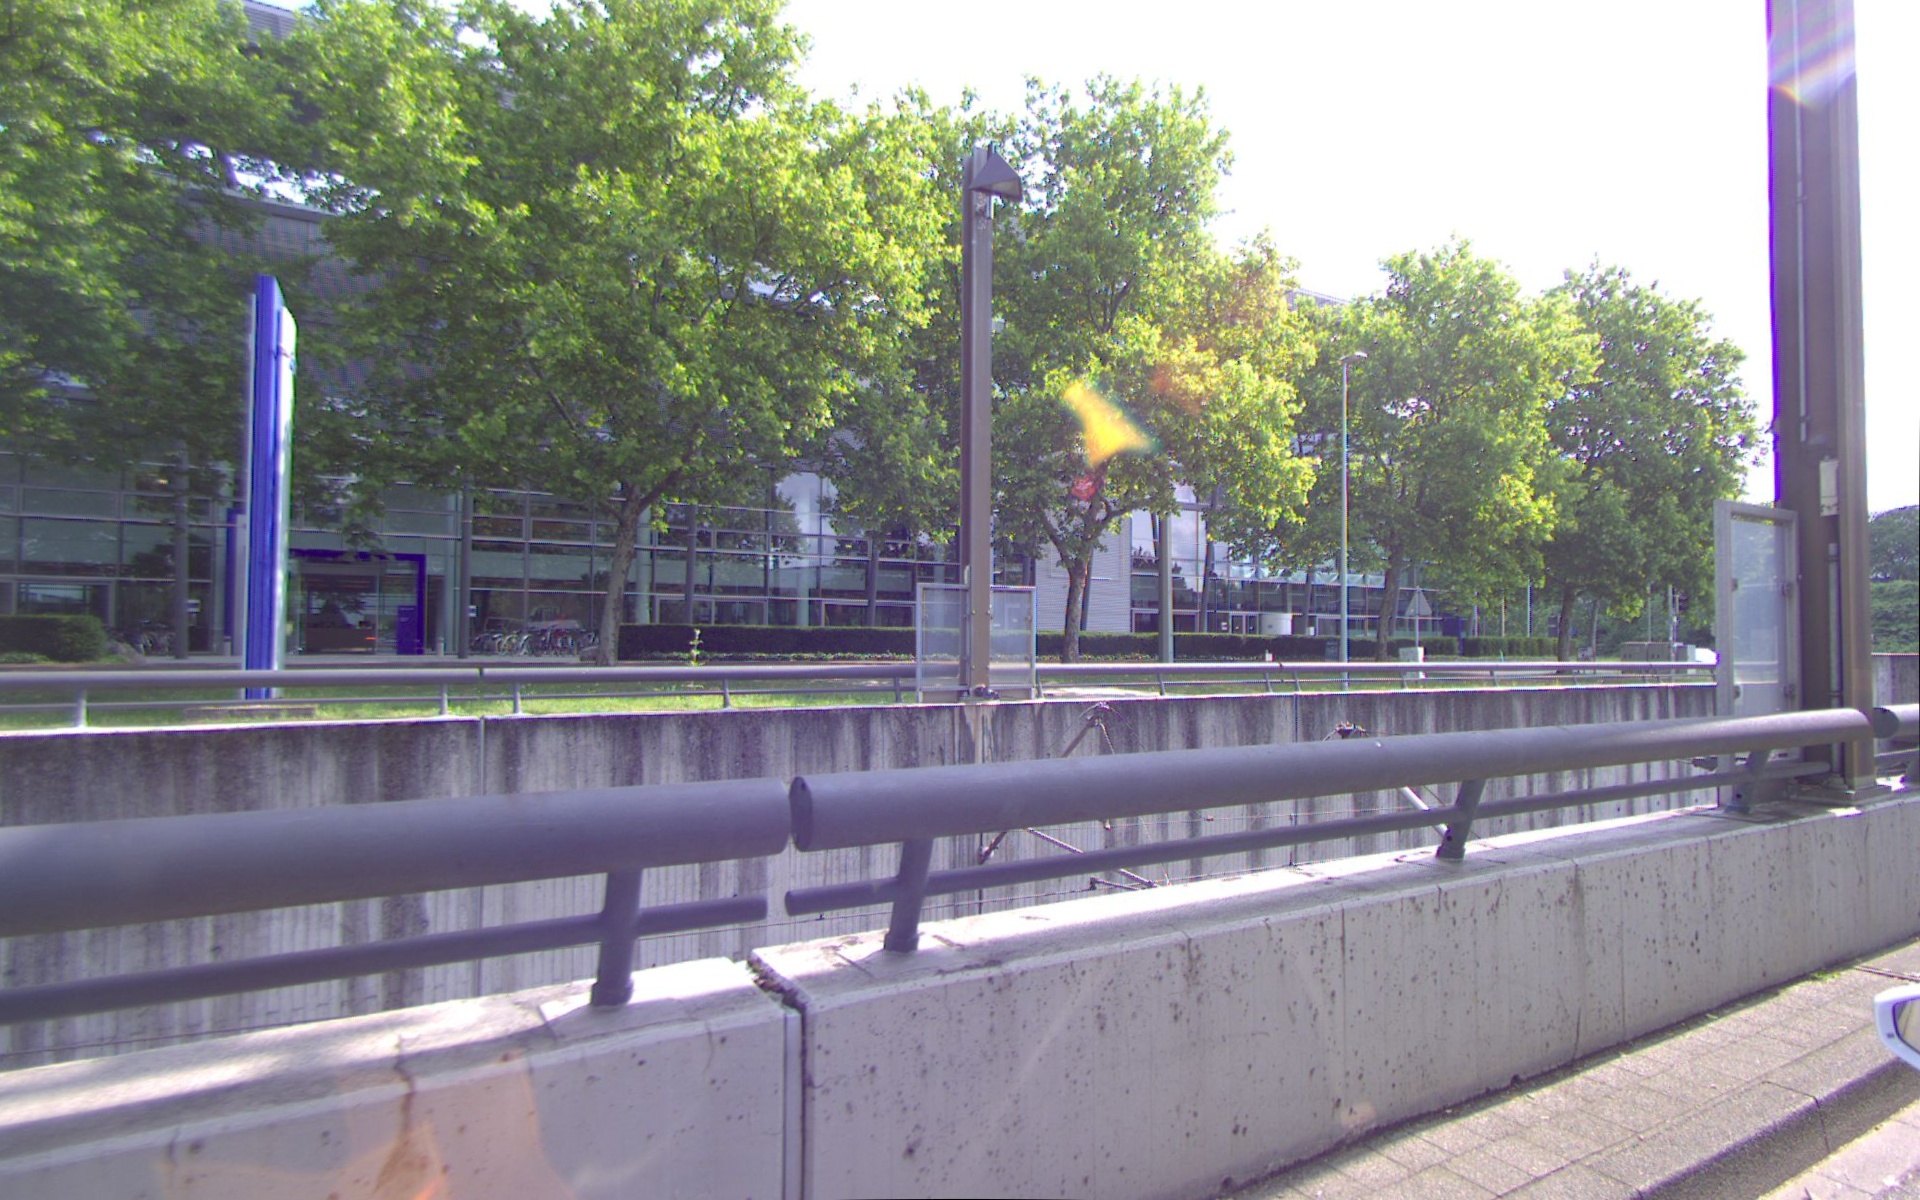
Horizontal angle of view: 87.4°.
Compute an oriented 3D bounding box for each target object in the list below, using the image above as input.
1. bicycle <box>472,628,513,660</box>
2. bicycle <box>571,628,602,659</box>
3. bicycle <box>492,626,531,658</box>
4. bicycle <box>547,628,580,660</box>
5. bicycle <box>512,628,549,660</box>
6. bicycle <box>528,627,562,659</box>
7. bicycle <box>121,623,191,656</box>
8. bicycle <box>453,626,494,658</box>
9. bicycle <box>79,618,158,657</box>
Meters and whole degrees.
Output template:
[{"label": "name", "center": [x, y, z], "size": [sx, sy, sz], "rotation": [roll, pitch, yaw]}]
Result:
[{"label": "bicycle", "center": [-17.740, 1.671, 38.176], "size": [0.624, 1.165, 2.270], "rotation": [2, -2, -5]}, {"label": "bicycle", "center": [-14.188, 1.650, 38.225], "size": [0.782, 1.165, 2.267], "rotation": [1, -2, -13]}, {"label": "bicycle", "center": [-17.028, 1.599, 38.207], "size": [0.624, 1.165, 2.270], "rotation": [1, -2, -5]}, {"label": "bicycle", "center": [-15.012, 1.645, 38.086], "size": [0.624, 1.165, 2.269], "rotation": [1, -2, -8]}, {"label": "bicycle", "center": [-16.328, 1.668, 38.231], "size": [0.624, 1.165, 2.270], "rotation": [1, -2, -6]}, {"label": "bicycle", "center": [-15.690, 1.627, 38.017], "size": [0.624, 1.165, 2.269], "rotation": [1, -2, -8]}, {"label": "bicycle", "center": [-26.637, 1.305, 33.264], "size": [2.291, 1.037, 0.595], "rotation": [0, -1, 17]}, {"label": "bicycle", "center": [-18.419, 1.587, 38.114], "size": [0.624, 1.165, 2.270], "rotation": [1, -2, -5]}, {"label": "bicycle", "center": [-26.914, 1.185, 32.126], "size": [2.291, 1.193, 0.814], "rotation": [0, -1, 17]}]
